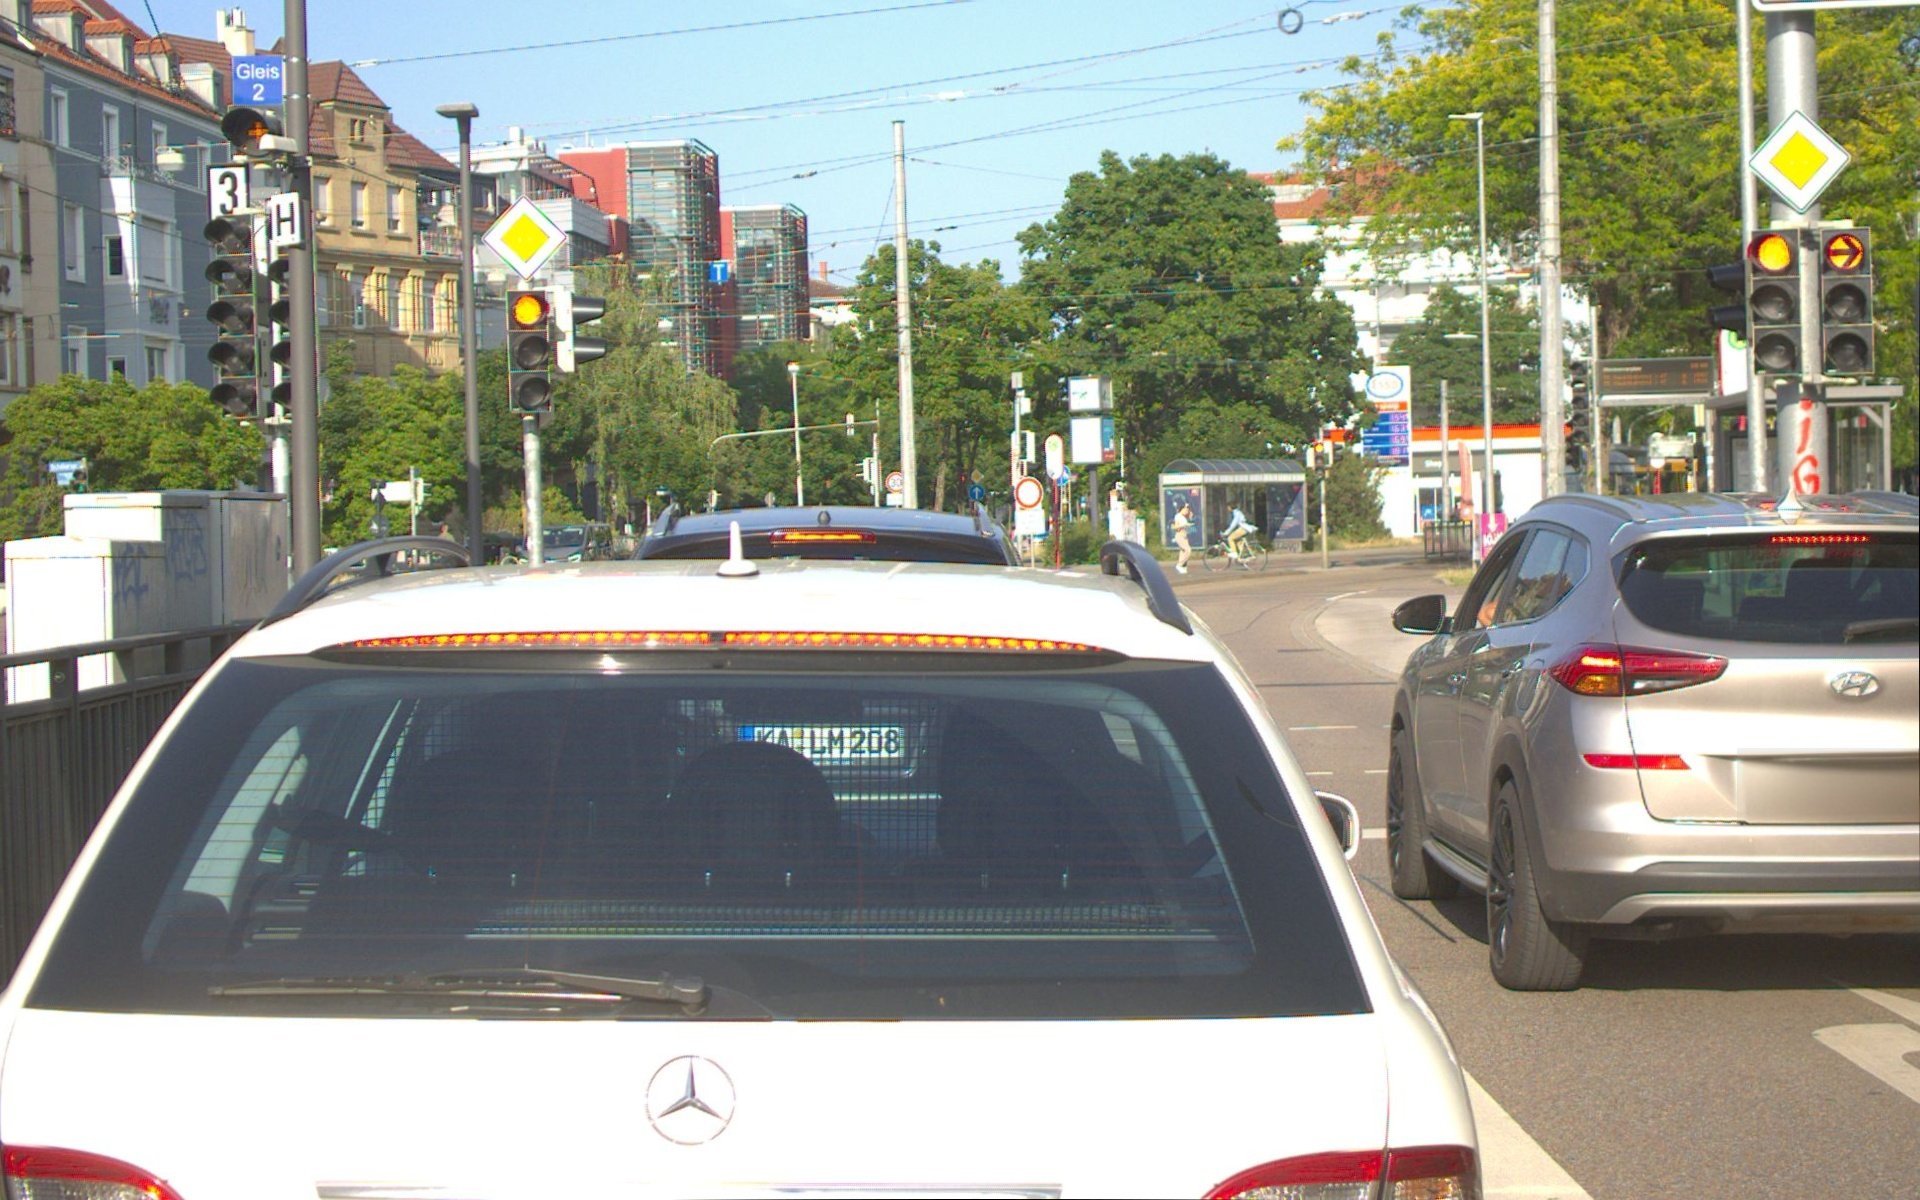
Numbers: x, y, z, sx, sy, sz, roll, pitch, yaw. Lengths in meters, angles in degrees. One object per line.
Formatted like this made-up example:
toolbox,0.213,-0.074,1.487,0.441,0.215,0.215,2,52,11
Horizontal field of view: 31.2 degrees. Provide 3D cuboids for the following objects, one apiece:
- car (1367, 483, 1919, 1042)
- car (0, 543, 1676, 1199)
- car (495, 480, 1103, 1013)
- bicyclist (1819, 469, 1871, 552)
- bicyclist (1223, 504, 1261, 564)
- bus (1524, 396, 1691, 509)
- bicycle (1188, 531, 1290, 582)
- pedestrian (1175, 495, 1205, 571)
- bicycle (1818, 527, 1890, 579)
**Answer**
car,2.634,0.440,12.157,1.885,1.645,3.648,-2,1,0
car,-0.272,0.659,4.986,1.796,1.465,3.648,0,1,-1
car,-0.521,0.421,12.590,1.885,1.645,3.648,1,1,0
bicyclist,13.585,-1.370,52.765,0.534,1.258,0.869,-2,1,0
bicyclist,7.104,-1.668,86.655,0.861,1.476,0.789,-1,1,9
bus,23.250,-5.161,122.784,3.112,3.593,12.359,1,1,24
bicycle,7.039,-1.105,86.672,2.483,1.209,0.806,-1,1,8
pedestrian,5.675,-1.660,84.808,0.642,1.850,0.551,-1,1,11
bicycle,13.681,-0.725,52.658,0.495,0.754,2.169,-3,1,0
